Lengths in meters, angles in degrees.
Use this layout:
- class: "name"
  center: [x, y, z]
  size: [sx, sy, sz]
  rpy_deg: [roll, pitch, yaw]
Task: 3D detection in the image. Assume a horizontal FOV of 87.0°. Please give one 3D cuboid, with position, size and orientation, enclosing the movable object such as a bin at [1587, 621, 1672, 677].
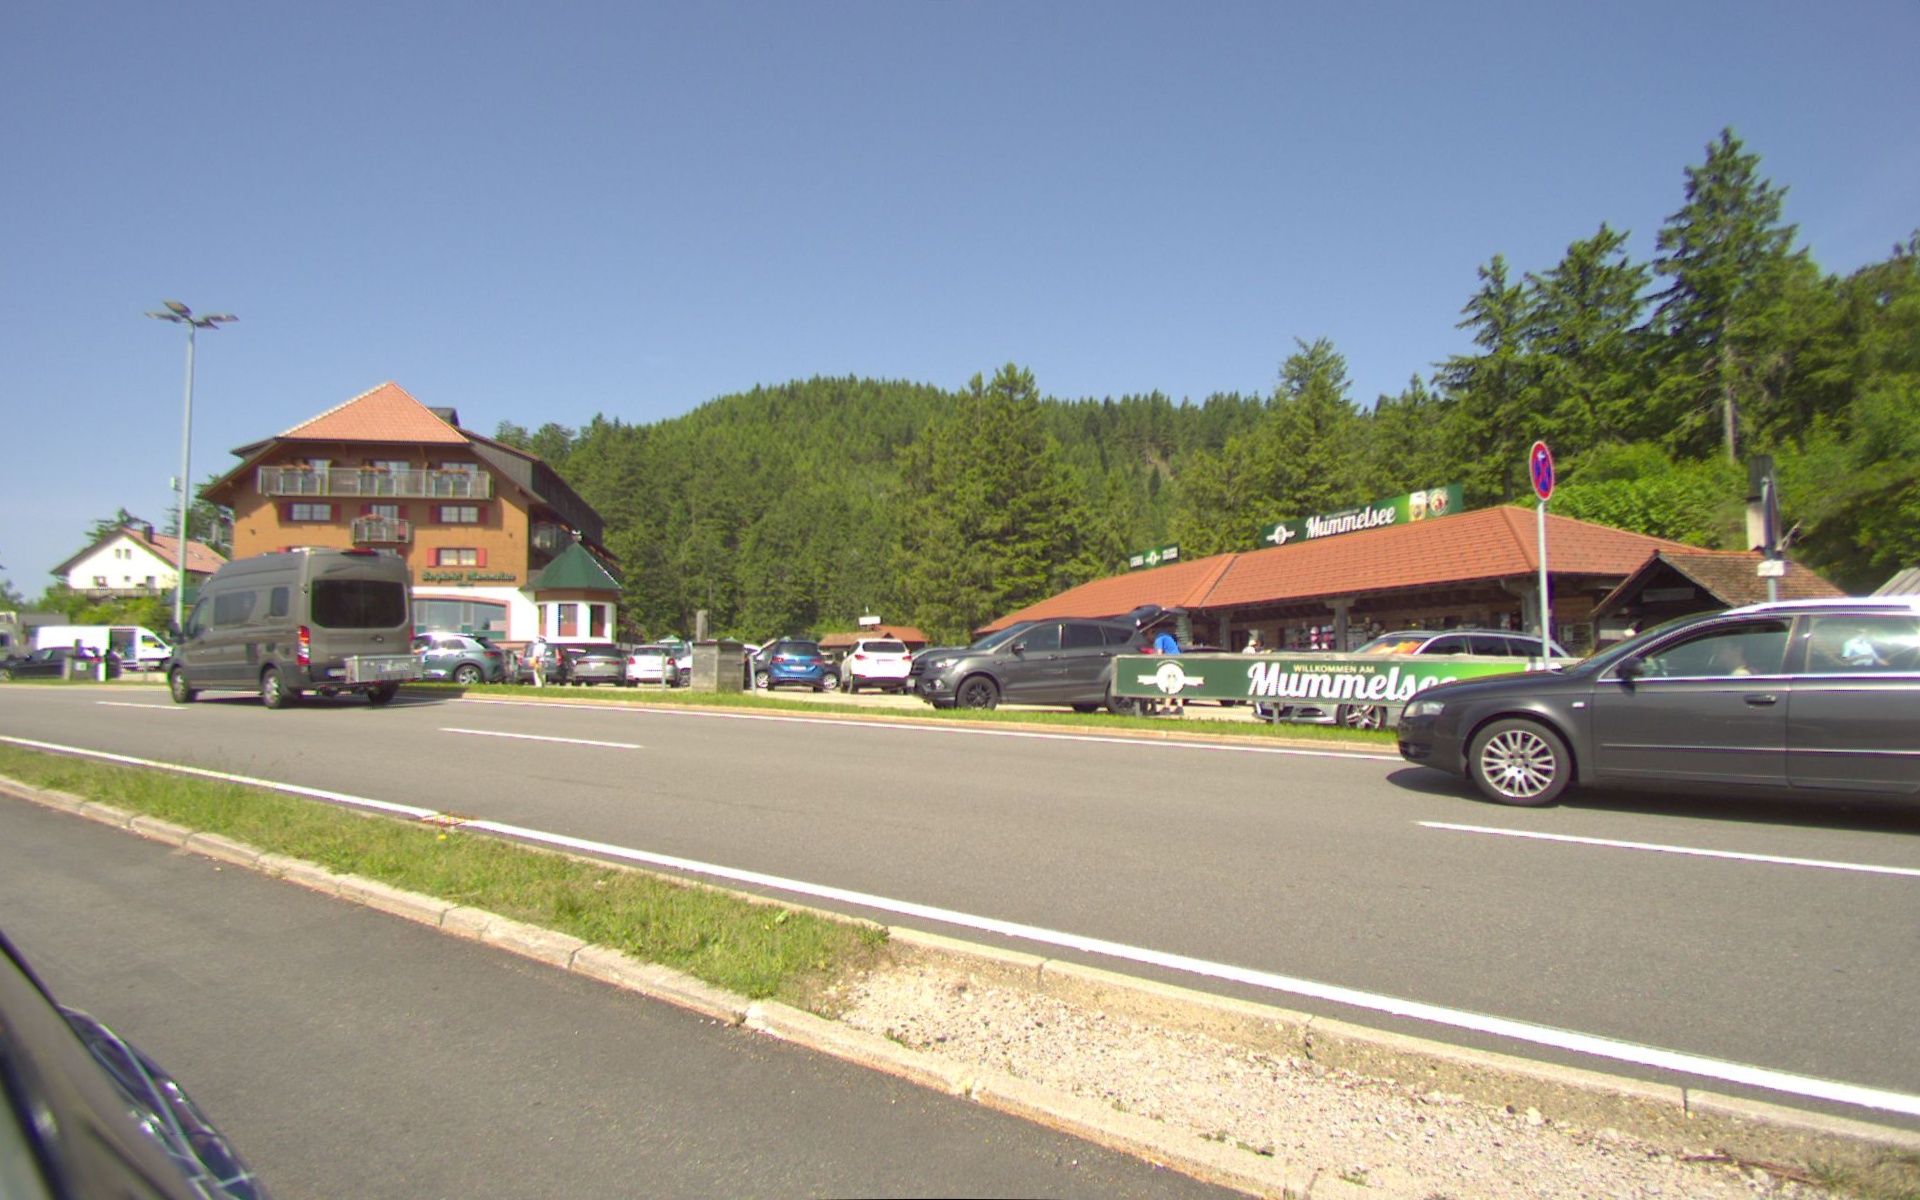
- class: "movable object such as a bin"
  center: [14.702, 1.079, 22.272]
  size: [0.969, 1.198, 1.218]
  rpy_deg: [0, -2, -5]

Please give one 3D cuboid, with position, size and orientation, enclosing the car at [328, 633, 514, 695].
- class: "car"
  center: [-14.781, 1.764, 28.011]
  size: [4.199, 1.641, 1.829]
  rpy_deg: [1, -3, -15]

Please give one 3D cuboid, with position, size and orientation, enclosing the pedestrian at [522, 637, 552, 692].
- class: "pedestrian"
  center: [-12.855, 1.952, 30.761]
  size: [0.733, 1.637, 0.685]
  rpy_deg: [2, -3, -28]

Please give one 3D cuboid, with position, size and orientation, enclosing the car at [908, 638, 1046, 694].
- class: "car"
  center: [0.508, 2.097, 32.334]
  size: [4.026, 1.729, 1.925]
  rpy_deg: [1, -3, -14]

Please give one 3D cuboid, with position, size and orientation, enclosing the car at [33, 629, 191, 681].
- class: "car"
  center: [-49.210, 3.180, 58.985]
  size: [6.855, 2.812, 2.671]
  rpy_deg: [2, -4, -40]

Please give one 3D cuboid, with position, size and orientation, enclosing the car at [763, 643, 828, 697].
- class: "car"
  center: [-5.401, 2.239, 32.827]
  size: [1.794, 1.641, 4.105]
  rpy_deg: [1, -3, -13]

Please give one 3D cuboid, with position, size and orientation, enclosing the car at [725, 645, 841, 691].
- class: "car"
  center: [-6.569, 2.500, 37.415]
  size: [4.025, 1.641, 1.829]
  rpy_deg: [1, -3, -15]

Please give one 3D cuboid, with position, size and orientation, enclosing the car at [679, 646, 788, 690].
- class: "car"
  center: [-8.868, 2.640, 39.536]
  size: [4.025, 1.641, 1.829]
  rpy_deg: [1, -3, -15]

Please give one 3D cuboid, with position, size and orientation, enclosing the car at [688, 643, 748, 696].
- class: "car"
  center: [-7.999, 2.266, 33.522]
  size: [1.794, 1.641, 4.105]
  rpy_deg: [1, -3, -13]

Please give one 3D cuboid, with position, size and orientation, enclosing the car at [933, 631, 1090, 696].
- class: "car"
  center: [1.425, 1.794, 28.629]
  size: [4.026, 1.729, 1.925]
  rpy_deg: [1, -3, -14]

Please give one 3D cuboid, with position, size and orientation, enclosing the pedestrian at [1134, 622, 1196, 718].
- class: "pedestrian"
  center: [3.611, 1.217, 17.893]
  size: [0.733, 1.648, 0.849]
  rpy_deg: [1, -3, -18]

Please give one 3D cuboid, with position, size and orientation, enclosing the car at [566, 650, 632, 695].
- class: "car"
  center: [-13.162, 2.618, 37.135]
  size: [1.794, 1.524, 4.105]
  rpy_deg: [1, -3, -13]

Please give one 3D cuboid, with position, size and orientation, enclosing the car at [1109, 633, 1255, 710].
- class: "car"
  center: [5.403, 1.740, 25.228]
  size: [1.888, 1.729, 4.106]
  rpy_deg: [1, -3, -15]

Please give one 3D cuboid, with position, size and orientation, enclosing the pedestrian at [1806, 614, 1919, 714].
- class: "pedestrian"
  center: [16.080, 1.130, 18.014]
  size: [0.962, 1.711, 1.165]
  rpy_deg: [1, -3, -16]

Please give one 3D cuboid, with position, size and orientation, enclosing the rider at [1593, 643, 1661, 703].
- class: "rider"
  center: [14.650, 1.597, 22.252]
  size: [0.826, 1.284, 0.910]
  rpy_deg: [0, -2, -5]

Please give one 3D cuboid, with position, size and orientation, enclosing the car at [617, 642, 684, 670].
- class: "car"
  center: [-19.939, 3.611, 65.398]
  size: [4.026, 1.729, 1.925]
  rpy_deg: [1, -3, -14]

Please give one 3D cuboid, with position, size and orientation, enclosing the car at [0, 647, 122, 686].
- class: "car"
  center: [-37.617, 2.738, 41.918]
  size: [4.024, 1.539, 1.830]
  rpy_deg: [1, -3, -19]

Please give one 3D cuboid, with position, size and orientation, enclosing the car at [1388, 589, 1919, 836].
- class: "car"
  center: [5.527, 0.709, 7.050]
  size: [4.438, 1.449, 1.692]
  rpy_deg: [-2, -3, 34]

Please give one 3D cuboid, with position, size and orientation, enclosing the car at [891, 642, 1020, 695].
- class: "car"
  center: [-0.184, 2.347, 34.837]
  size: [4.024, 1.729, 1.926]
  rpy_deg: [1, -3, -17]

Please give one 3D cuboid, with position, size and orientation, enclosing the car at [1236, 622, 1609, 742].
- class: "car"
  center: [6.155, 1.076, 13.611]
  size: [4.427, 1.441, 1.726]
  rpy_deg: [1, -3, -14]

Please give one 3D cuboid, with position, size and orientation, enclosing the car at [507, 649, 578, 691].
- class: "car"
  center: [-15.716, 2.612, 38.271]
  size: [1.794, 1.524, 4.105]
  rpy_deg: [1, -3, -13]

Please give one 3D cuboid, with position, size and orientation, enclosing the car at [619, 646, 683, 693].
- class: "car"
  center: [-10.580, 2.359, 34.867]
  size: [1.794, 1.524, 4.105]
  rpy_deg: [1, -3, -13]

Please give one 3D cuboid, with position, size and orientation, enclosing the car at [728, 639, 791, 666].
- class: "car"
  center: [-13.489, 3.540, 67.975]
  size: [4.026, 1.729, 1.925]
  rpy_deg: [1, -3, -14]

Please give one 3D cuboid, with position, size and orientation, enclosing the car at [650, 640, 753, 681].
- class: "car"
  center: [-10.732, 2.497, 41.969]
  size: [4.025, 1.641, 1.829]
  rpy_deg: [1, -3, -15]

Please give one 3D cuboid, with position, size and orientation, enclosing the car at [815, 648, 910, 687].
- class: "car"
  center: [-4.536, 3.121, 46.765]
  size: [4.024, 1.729, 1.926]
  rpy_deg: [1, -3, -17]

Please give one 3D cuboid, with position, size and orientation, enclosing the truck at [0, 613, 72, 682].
- class: "truck"
  center: [-56.939, 2.878, 60.490]
  size: [2.834, 3.850, 9.045]
  rpy_deg: [-1, -2, -21]

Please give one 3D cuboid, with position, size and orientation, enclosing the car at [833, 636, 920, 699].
- class: "car"
  center: [-2.570, 1.991, 30.353]
  size: [1.888, 1.729, 4.106]
  rpy_deg: [1, -3, -15]

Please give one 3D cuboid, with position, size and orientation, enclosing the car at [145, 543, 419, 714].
- class: "car"
  center: [-12.758, 0.569, 18.908]
  size: [5.898, 2.772, 1.995]
  rpy_deg: [-2, -3, 32]

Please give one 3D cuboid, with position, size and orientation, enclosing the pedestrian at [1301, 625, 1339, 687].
- class: "pedestrian"
  center: [11.948, 1.846, 33.622]
  size: [0.711, 2.029, 0.930]
  rpy_deg: [1, -2, -21]

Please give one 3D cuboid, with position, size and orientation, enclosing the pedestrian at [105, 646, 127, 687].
- class: "pedestrian"
  center: [-38.710, 3.043, 46.419]
  size: [0.752, 1.878, 0.664]
  rpy_deg: [-3, -4, 45]

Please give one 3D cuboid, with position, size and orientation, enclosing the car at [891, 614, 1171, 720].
- class: "car"
  center: [1.196, 1.137, 17.437]
  size: [4.474, 1.669, 1.727]
  rpy_deg: [1, -3, -17]

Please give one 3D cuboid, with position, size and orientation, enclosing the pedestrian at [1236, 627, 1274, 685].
- class: "pedestrian"
  center: [10.518, 1.984, 36.137]
  size: [0.948, 2.029, 0.859]
  rpy_deg: [1, -2, -21]

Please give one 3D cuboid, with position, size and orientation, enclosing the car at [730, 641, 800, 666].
- class: "car"
  center: [-13.928, 3.844, 72.067]
  size: [4.764, 1.729, 1.925]
  rpy_deg: [1, -3, -14]
